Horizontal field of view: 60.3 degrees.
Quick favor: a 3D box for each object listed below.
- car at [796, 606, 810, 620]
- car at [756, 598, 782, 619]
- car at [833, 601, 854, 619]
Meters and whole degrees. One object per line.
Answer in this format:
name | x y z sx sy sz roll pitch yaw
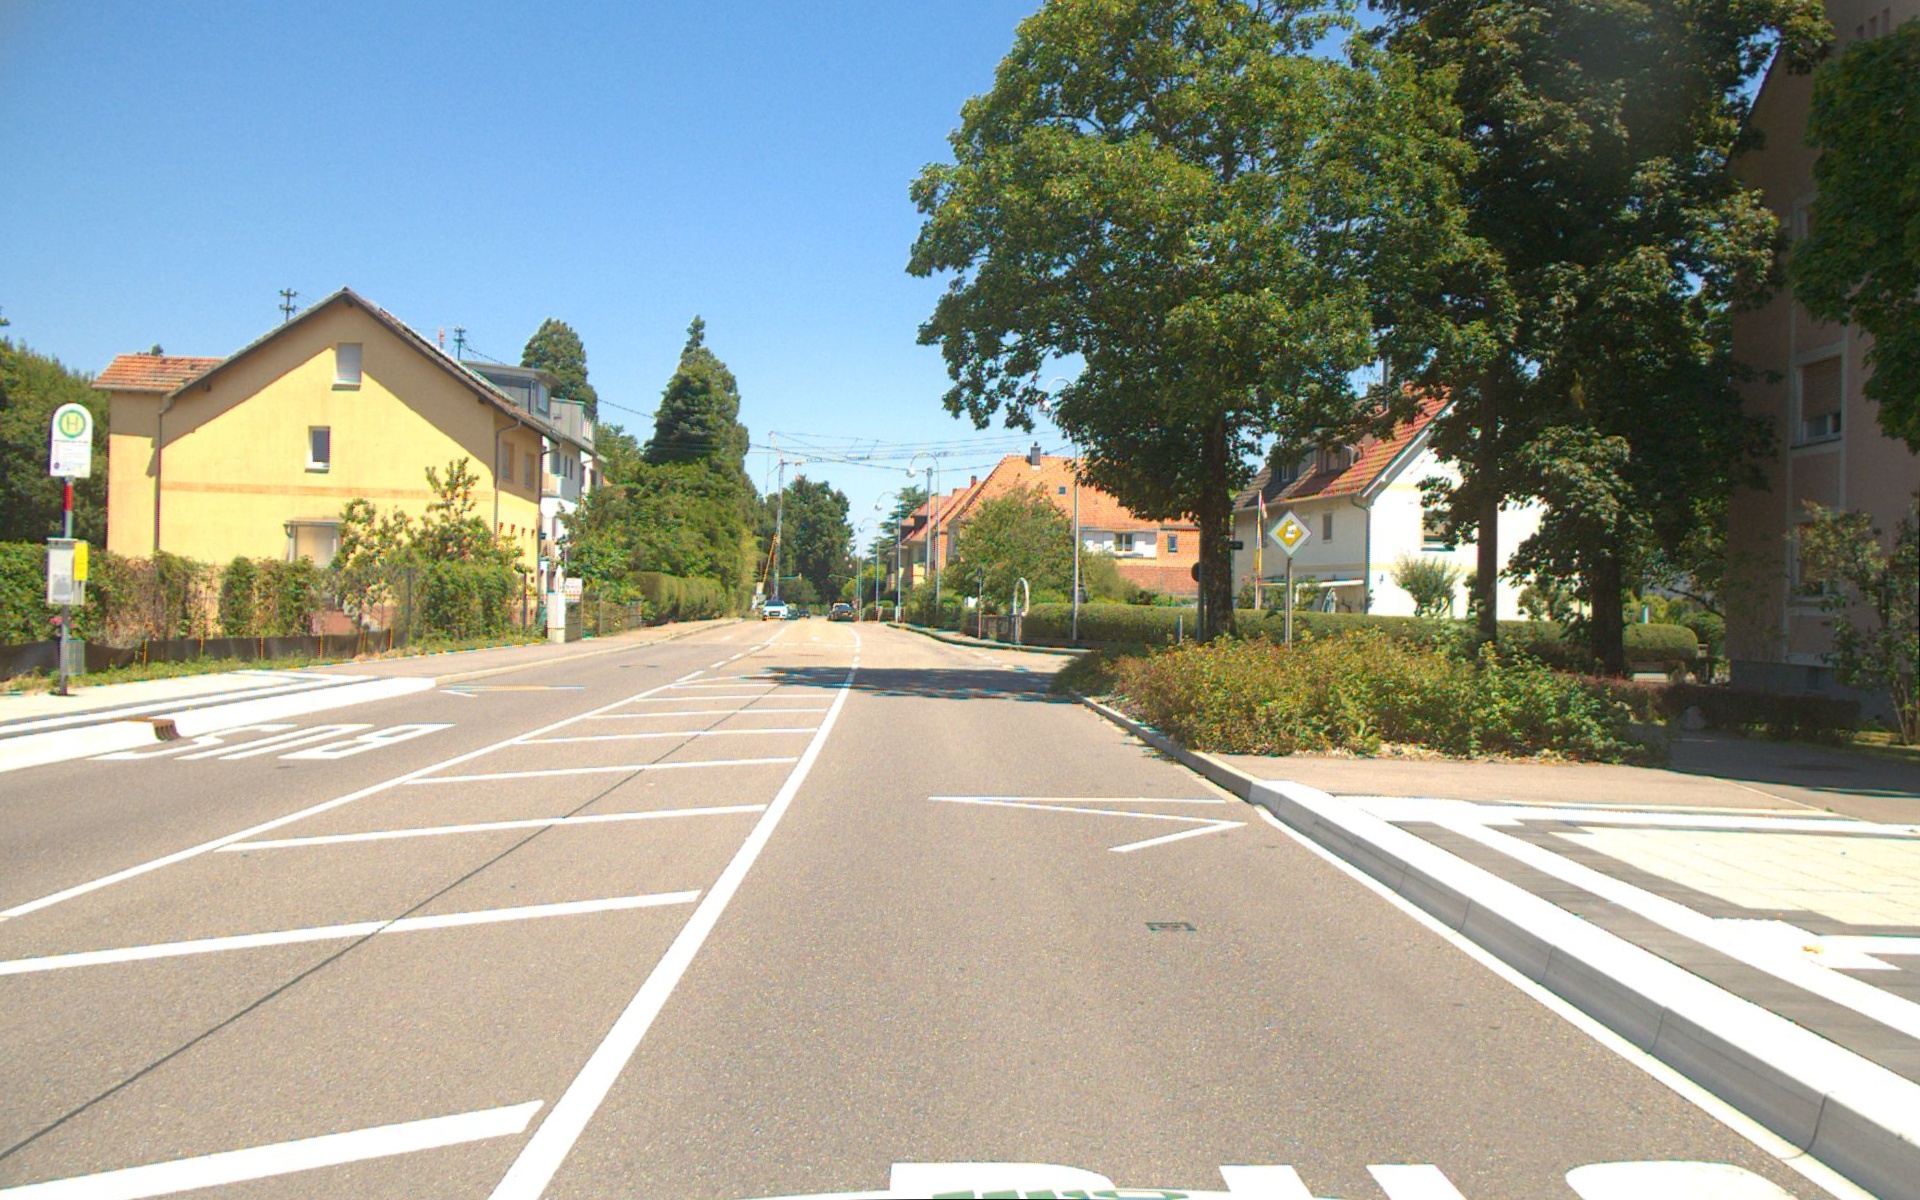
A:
car | -24.496 1.992 258.225 1.955 1.882 4.705 1 2 -7
car | -13.533 0.582 117.304 1.647 1.396 4.202 0 0 -4
car | -10.537 0.905 149.589 1.660 1.444 4.544 2 -1 -7
